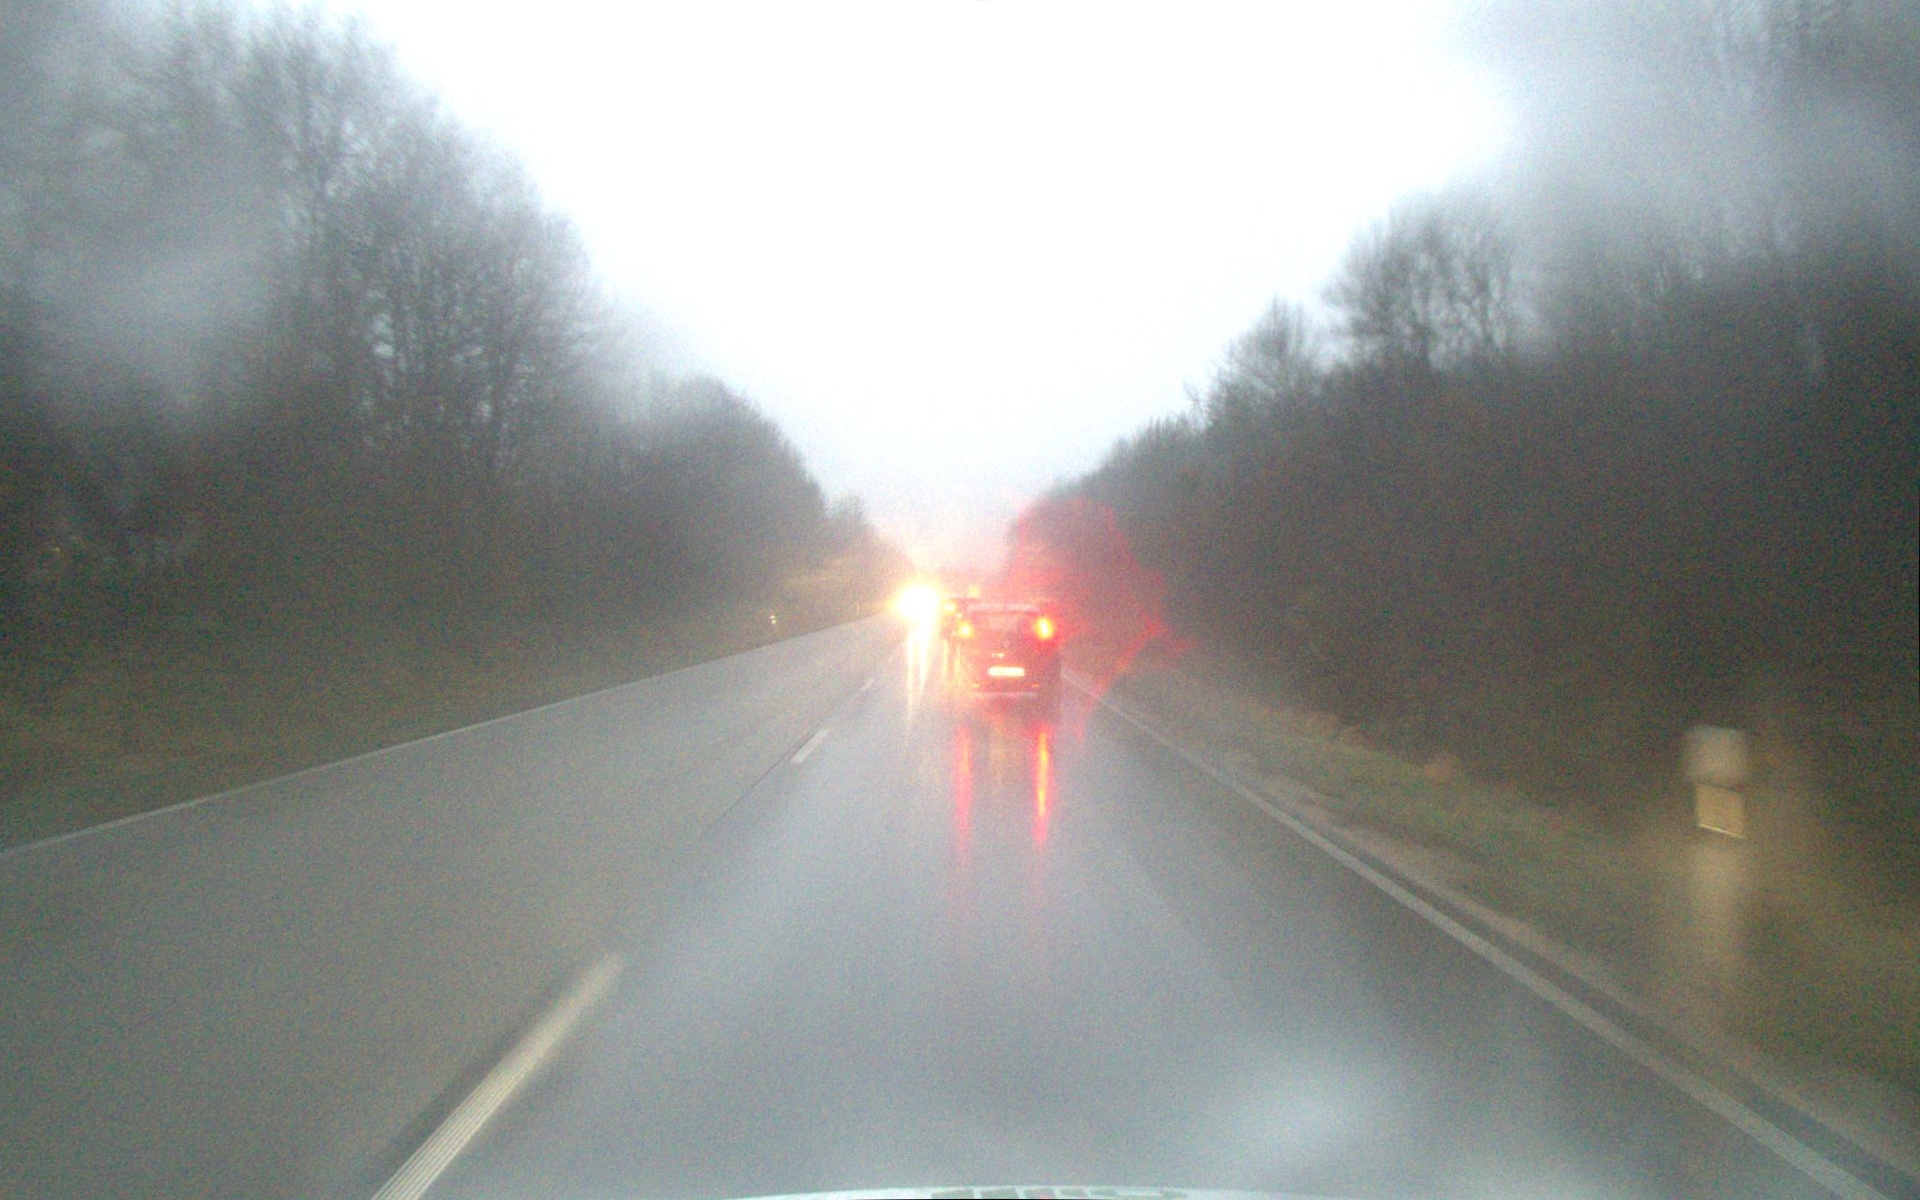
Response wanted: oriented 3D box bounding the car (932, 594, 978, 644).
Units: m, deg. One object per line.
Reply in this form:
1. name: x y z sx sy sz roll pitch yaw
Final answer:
1. car: -0.205 0.696 62.886 1.698 1.810 3.999 1 0 -1

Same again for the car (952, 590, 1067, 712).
1. car: 0.735 0.723 25.124 1.614 1.701 3.514 1 0 1
